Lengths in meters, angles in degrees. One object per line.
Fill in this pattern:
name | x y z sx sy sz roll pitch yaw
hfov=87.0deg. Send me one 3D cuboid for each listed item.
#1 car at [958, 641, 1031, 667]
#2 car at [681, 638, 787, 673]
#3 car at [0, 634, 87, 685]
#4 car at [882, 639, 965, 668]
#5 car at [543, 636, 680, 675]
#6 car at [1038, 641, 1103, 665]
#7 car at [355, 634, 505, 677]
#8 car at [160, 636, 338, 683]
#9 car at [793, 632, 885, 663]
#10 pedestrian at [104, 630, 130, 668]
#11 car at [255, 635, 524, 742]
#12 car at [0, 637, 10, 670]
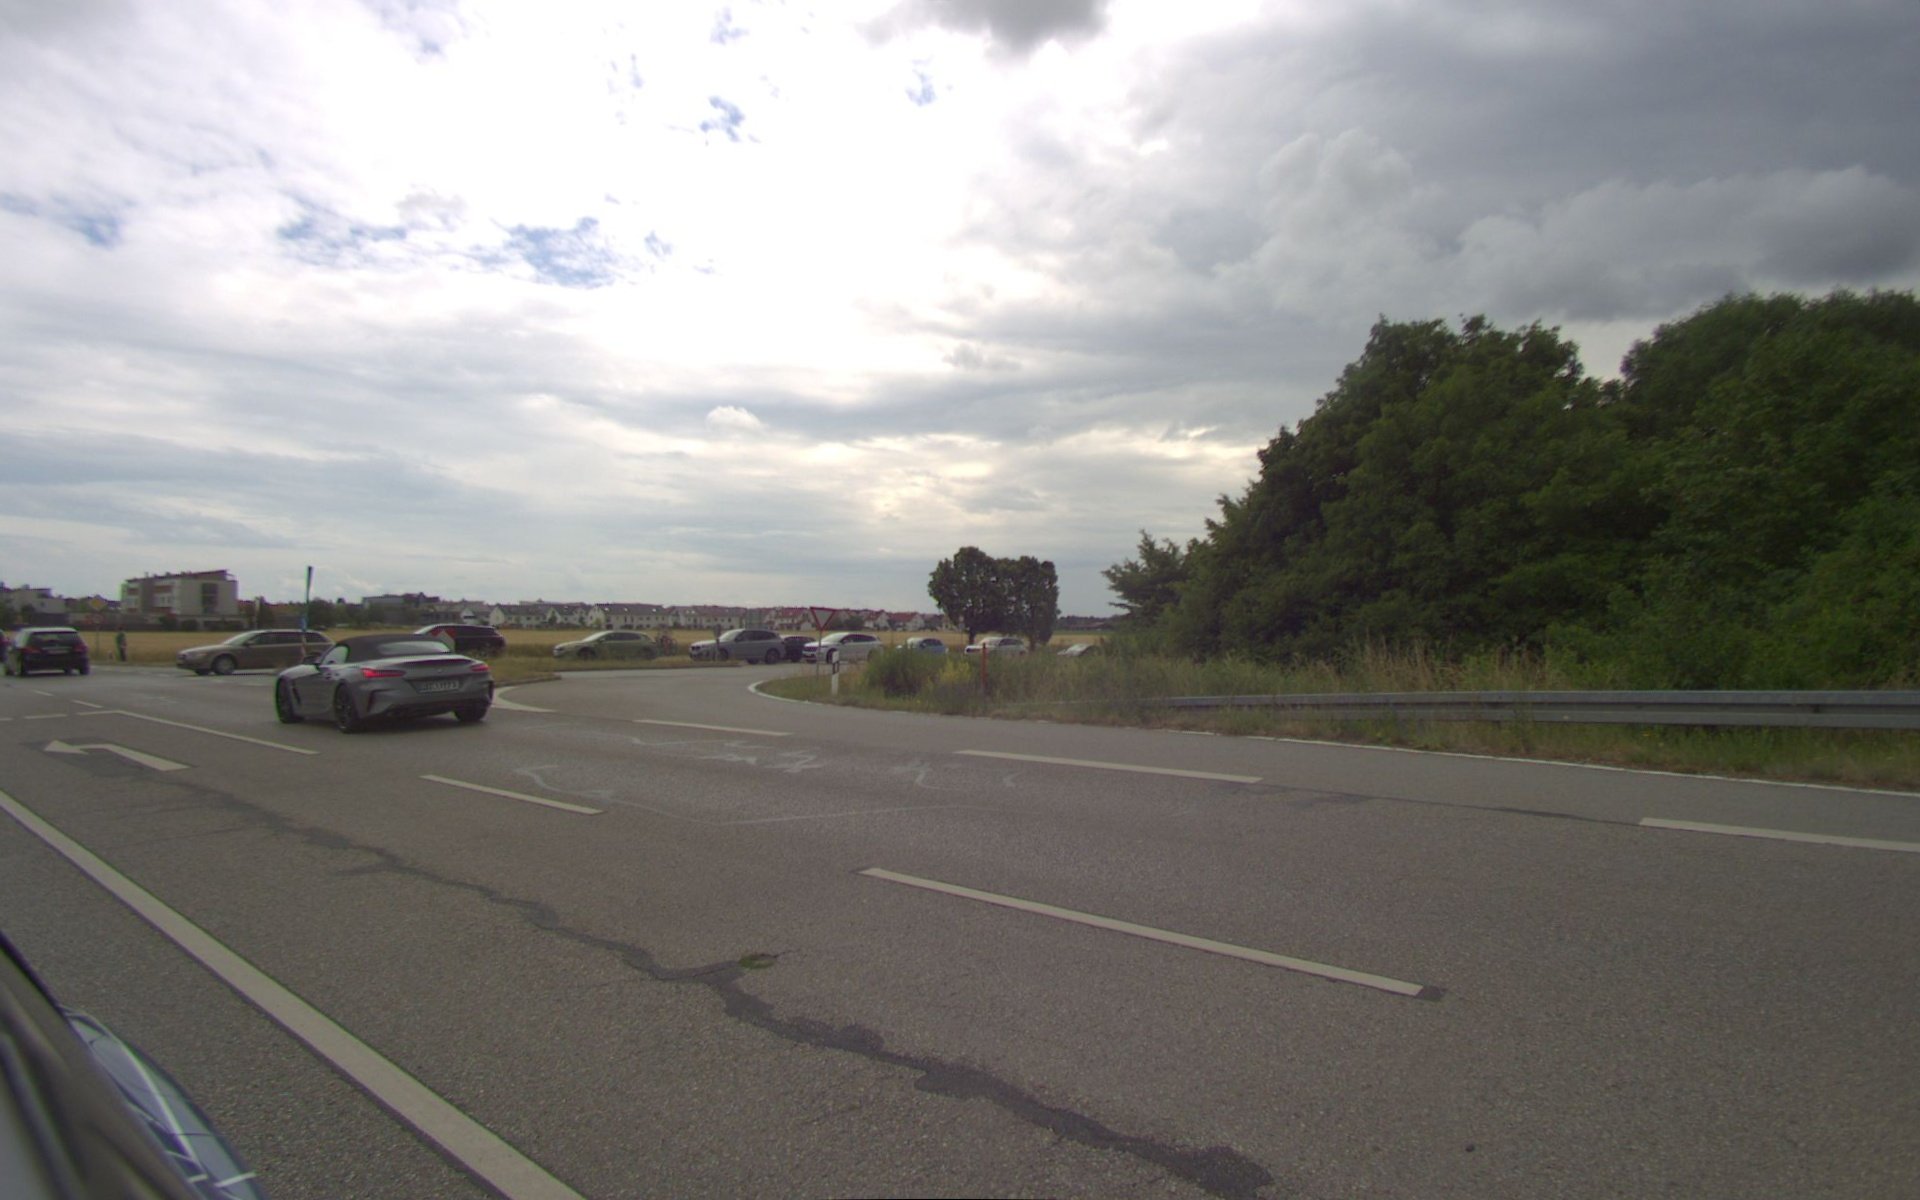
car | 2.078 3.175 60.251 1.911 1.493 4.441 -2 -3 43
car | -10.560 2.555 47.495 4.569 1.528 1.913 2 -3 -44
car | -30.398 1.925 33.427 4.195 1.542 1.724 -2 -2 40
car | -2.002 2.934 55.958 4.438 1.493 1.913 2 -3 -44
car | -14.800 2.319 43.228 5.222 1.533 1.913 2 -3 -44
car | 7.244 3.445 66.116 1.911 1.493 4.441 -2 -3 43
car | -19.934 2.050 38.179 4.683 1.543 1.913 2 -3 -44
car | -23.292 1.900 33.331 1.905 1.435 4.415 -1 -2 32
car | -6.131 2.408 51.624 4.438 1.493 1.913 2 -3 -44
pedestrian | -36.185 2.103 43.445 0.865 1.617 0.587 -2 -5 38
car | -8.555 1.204 15.050 4.233 1.294 2.142 -2 -1 40
car | -44.294 2.422 45.711 3.165 1.495 1.645 -2 -1 40
